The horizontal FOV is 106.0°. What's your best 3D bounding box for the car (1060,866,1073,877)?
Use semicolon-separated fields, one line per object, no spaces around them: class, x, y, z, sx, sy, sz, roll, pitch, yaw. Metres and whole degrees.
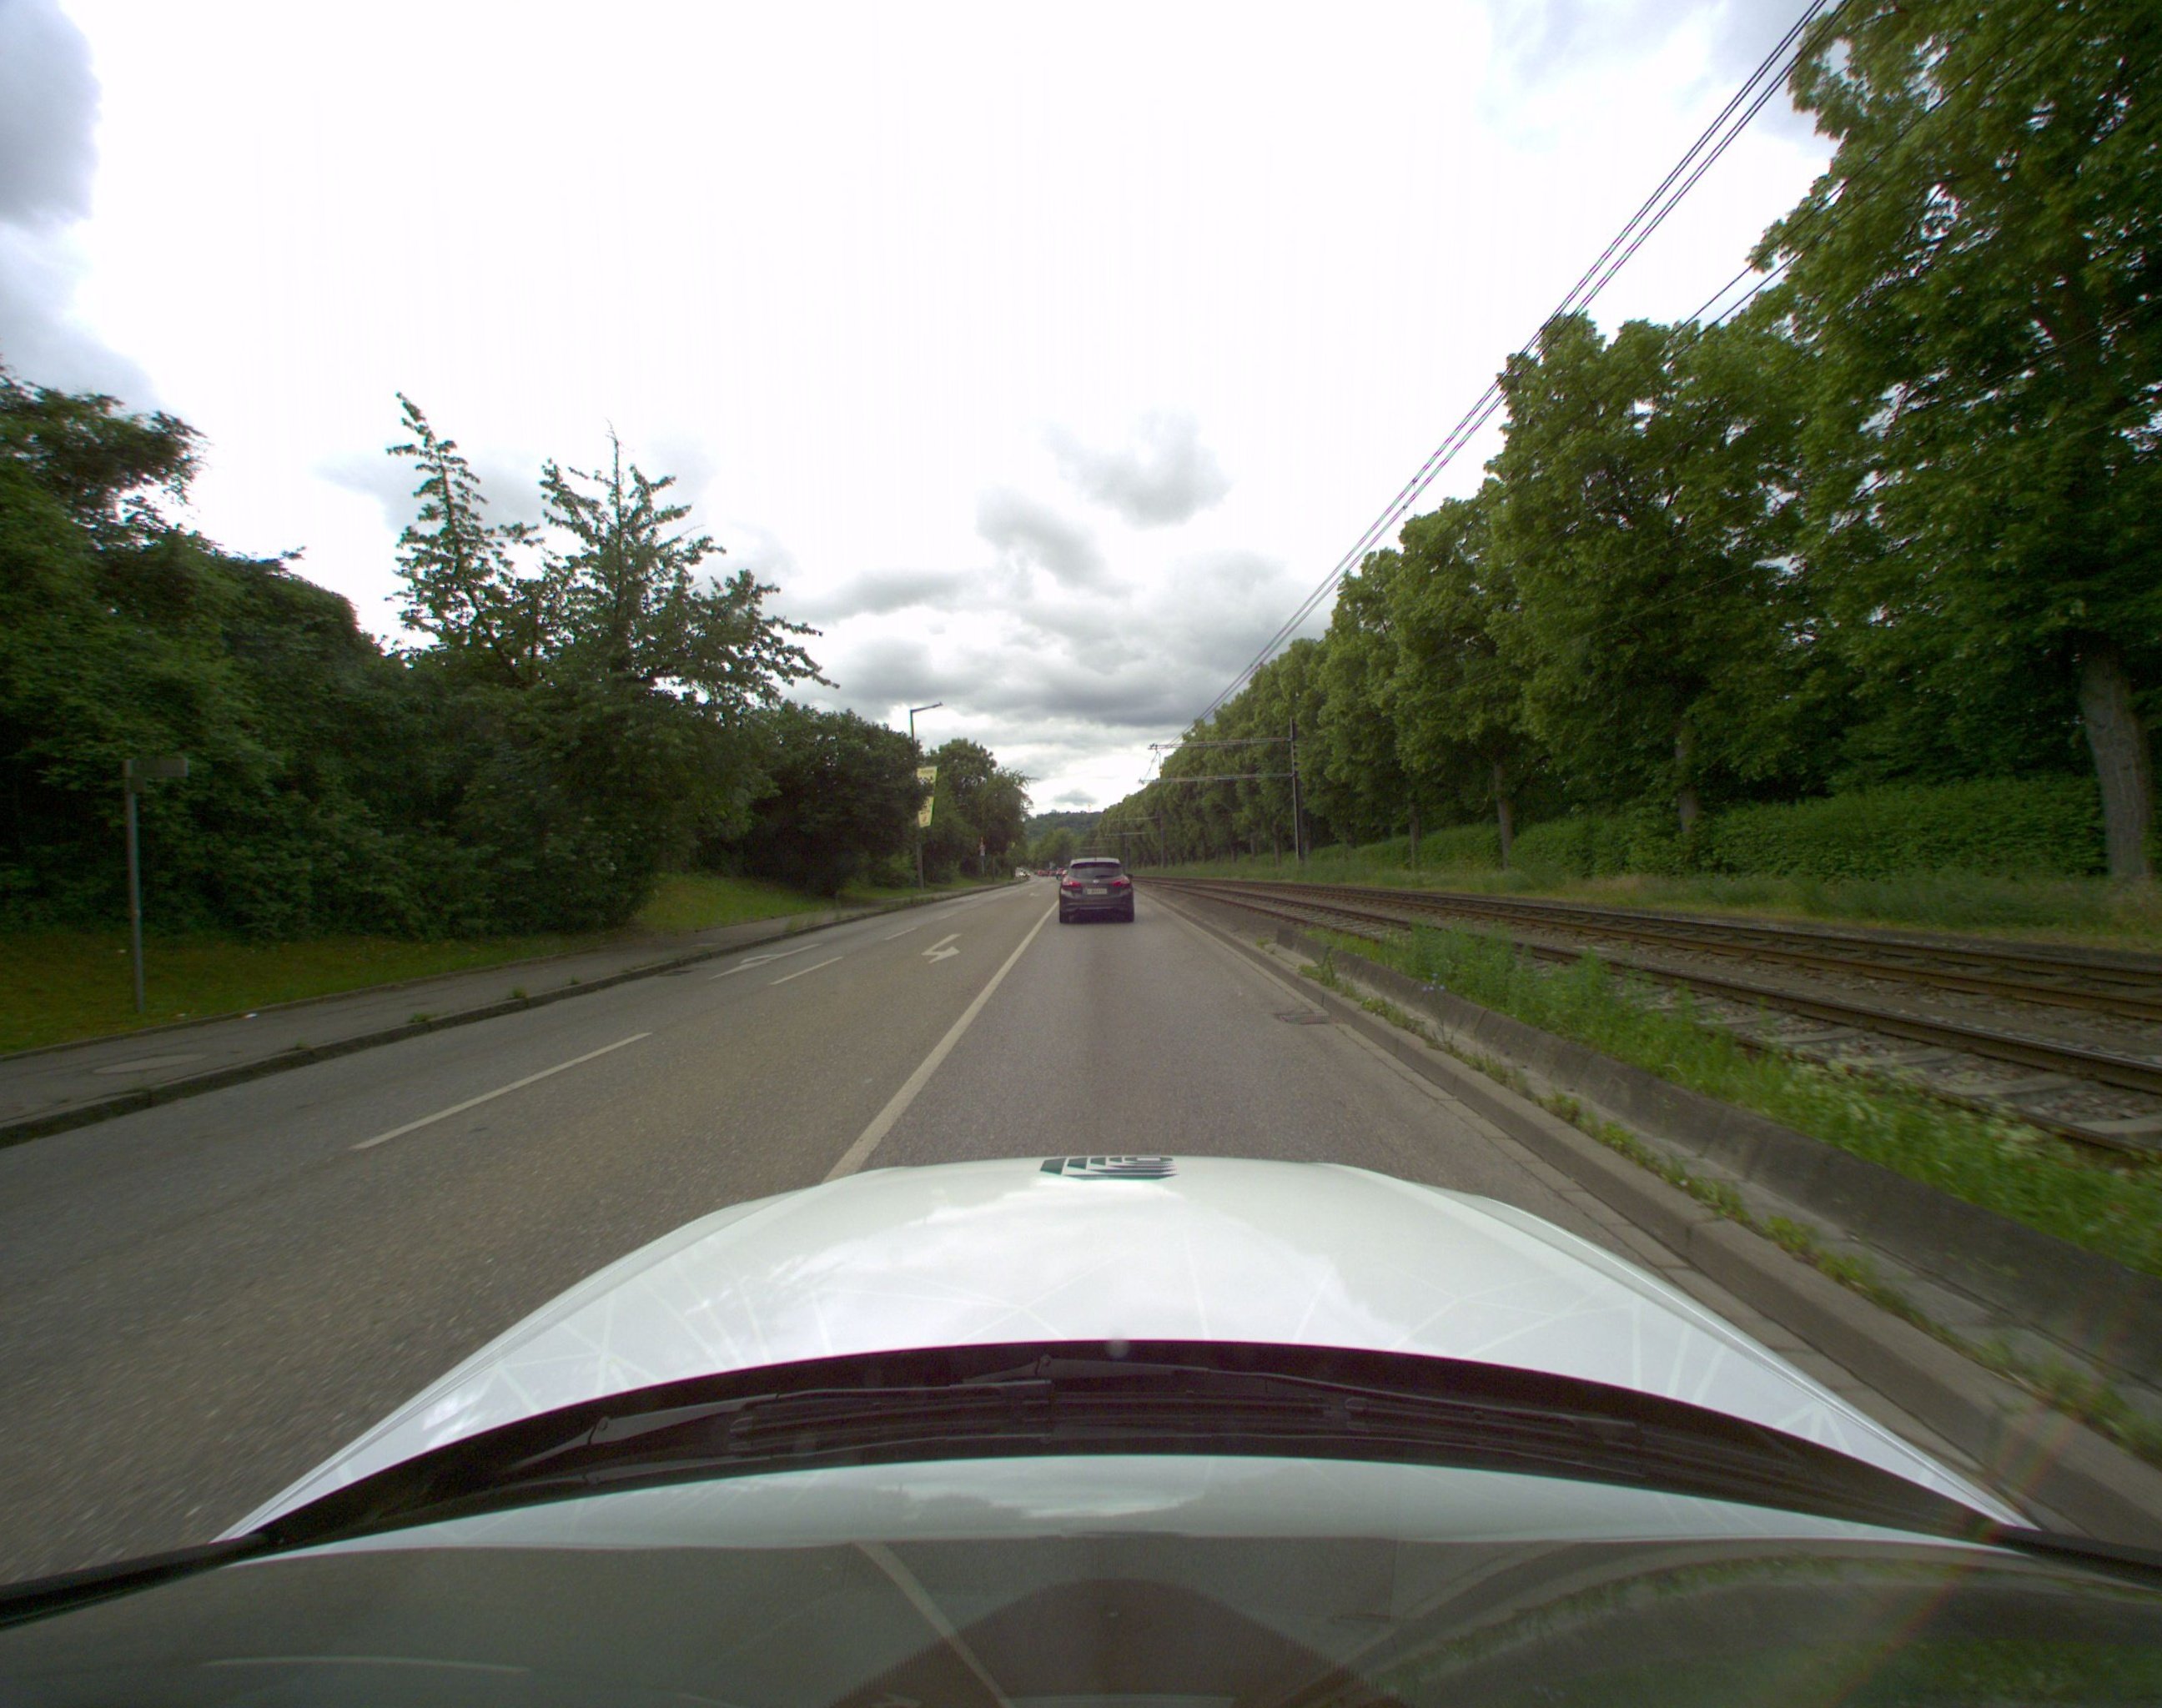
car;-1.897;2.380;109.892;1.695;1.444;3.998;-2;-2;-1

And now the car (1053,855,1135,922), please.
car;0.341;0.800;20.471;1.844;1.493;4.000;0;-1;1

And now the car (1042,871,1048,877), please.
car;-11.248;6.288;251.980;1.695;1.714;3.998;-2;-2;-1

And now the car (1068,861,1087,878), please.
car;-0.364;1.469;74.862;1.695;1.444;3.998;-2;-2;-1

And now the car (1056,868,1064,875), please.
car;-4.522;3.742;176.810;1.789;1.510;3.998;-2;-2;-1

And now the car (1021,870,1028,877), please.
car;-17.889;6.302;258.602;1.989;2.036;5.109;-3;-2;-3
